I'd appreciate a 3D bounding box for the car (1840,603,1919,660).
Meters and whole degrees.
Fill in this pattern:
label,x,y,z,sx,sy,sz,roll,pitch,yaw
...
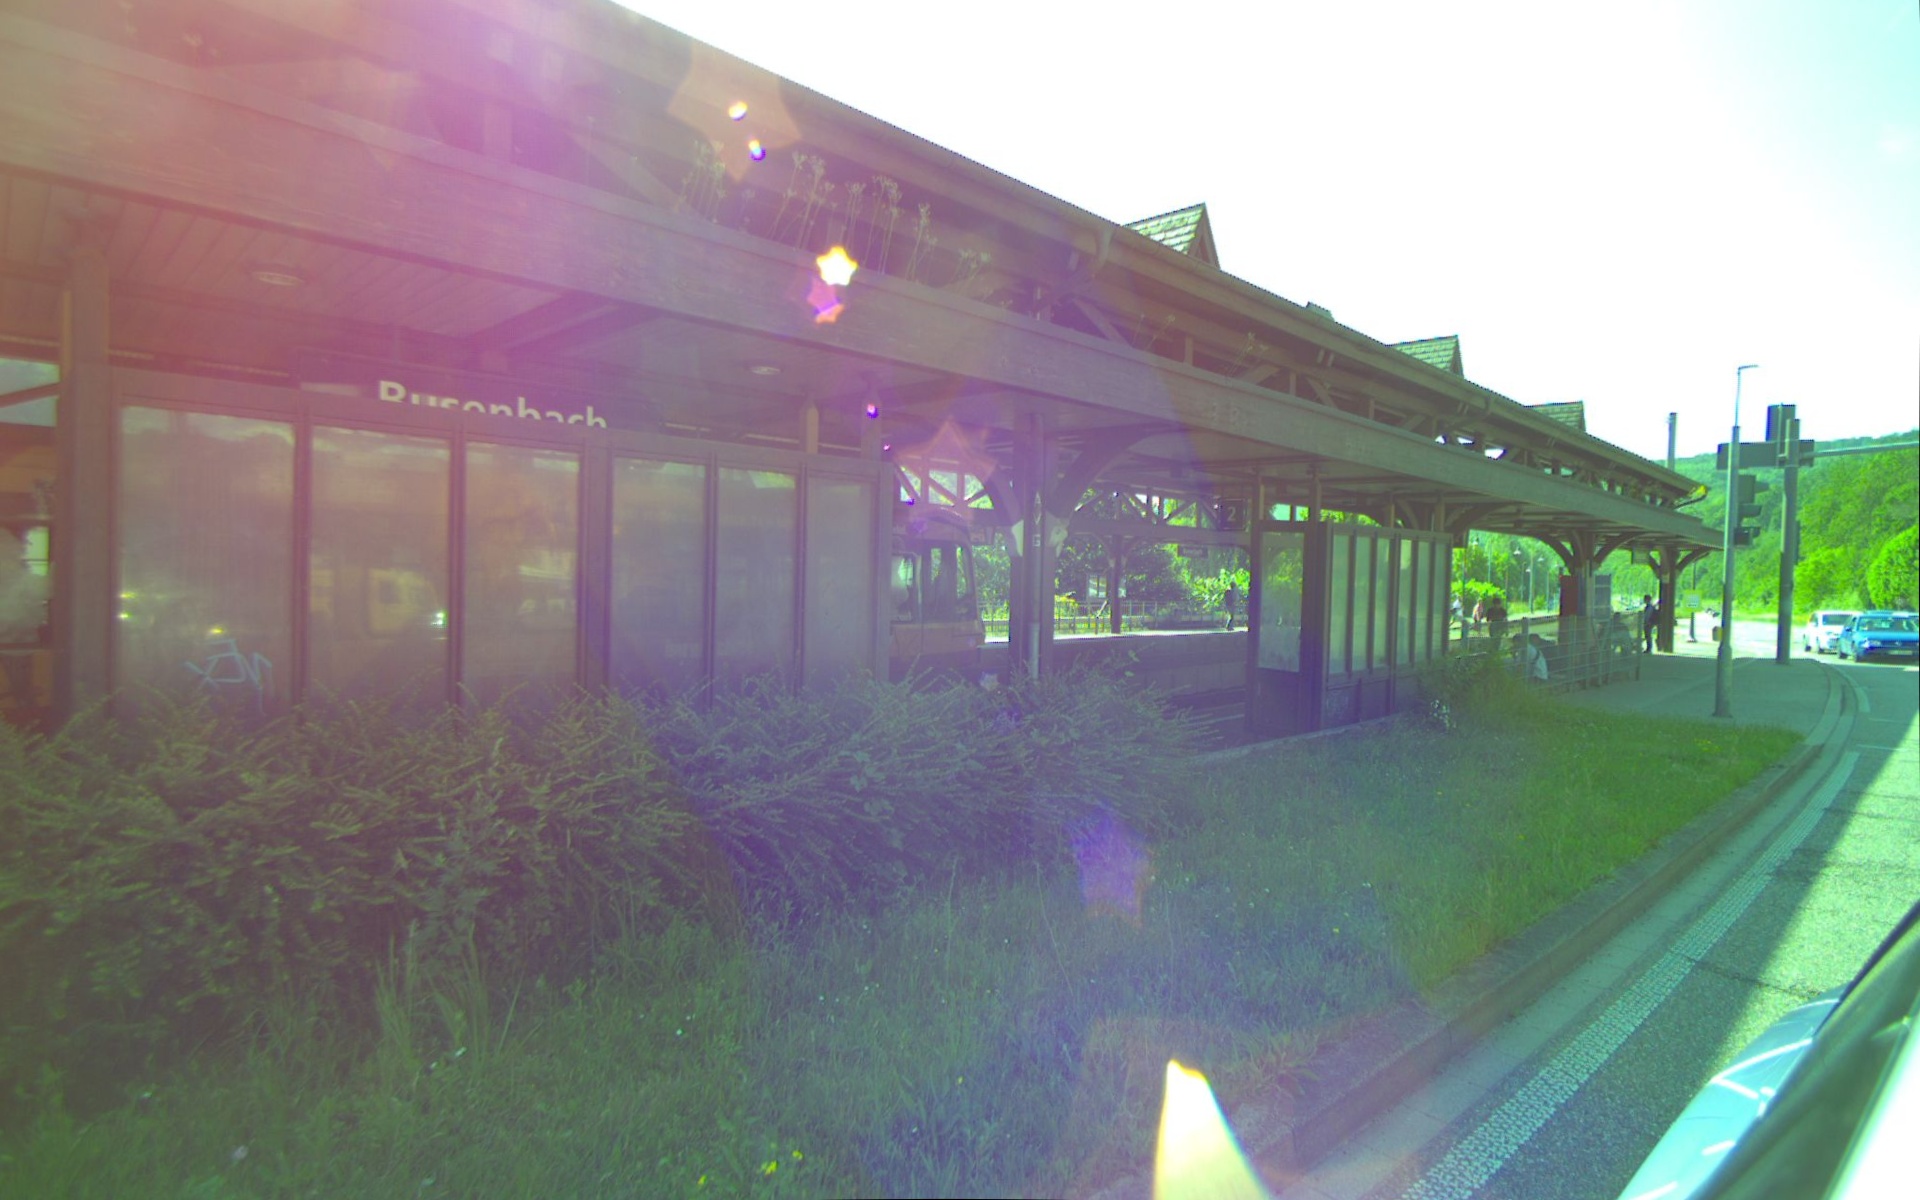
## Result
label,x,y,z,sx,sy,sz,roll,pitch,yaw
car,27.371,0.888,29.581,1.853,1.501,4.251,2,1,33

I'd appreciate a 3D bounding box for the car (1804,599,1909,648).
label,x,y,z,sx,sy,sz,roll,pitch,yaw
car,31.171,0.805,35.311,1.984,1.605,3.955,-1,-1,31

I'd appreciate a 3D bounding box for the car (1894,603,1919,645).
label,x,y,z,sx,sy,sz,roll,pitch,yaw
car,36.270,0.903,37.172,1.965,1.523,4.697,0,-1,31

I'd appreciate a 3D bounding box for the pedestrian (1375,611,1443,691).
label,x,y,z,sx,sy,sz,roll,pitch,yaw
pedestrian,6.569,0.738,14.811,0.741,1.131,0.657,-1,-2,42

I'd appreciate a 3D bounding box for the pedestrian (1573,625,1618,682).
label,x,y,z,sx,sy,sz,roll,pitch,yaw
pedestrian,11.236,0.934,17.899,0.616,0.978,0.400,-1,-2,42

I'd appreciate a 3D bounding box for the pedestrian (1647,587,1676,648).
label,x,y,z,sx,sy,sz,roll,pitch,yaw
pedestrian,20.143,0.503,29.073,0.655,1.713,0.730,1,0,35

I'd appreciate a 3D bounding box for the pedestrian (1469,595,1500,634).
label,x,y,z,sx,sy,sz,roll,pitch,yaw
pedestrian,23.318,0.652,45.026,0.805,1.706,0.905,1,-2,-18

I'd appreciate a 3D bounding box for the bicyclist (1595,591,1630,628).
label,x,y,z,sx,sy,sz,roll,pitch,yaw
bicyclist,27.974,0.410,43.401,0.771,1.589,0.948,0,-1,-25

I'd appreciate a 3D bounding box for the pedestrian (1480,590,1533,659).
label,x,y,z,sx,sy,sz,roll,pitch,yaw
pedestrian,12.841,0.574,23.789,0.860,1.567,0.908,1,-1,43

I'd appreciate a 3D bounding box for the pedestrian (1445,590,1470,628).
label,x,y,z,sx,sy,sz,roll,pitch,yaw
pedestrian,22.682,0.411,46.134,0.864,1.706,0.810,-1,-2,42

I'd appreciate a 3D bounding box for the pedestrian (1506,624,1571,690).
label,x,y,z,sx,sy,sz,roll,pitch,yaw
pedestrian,9.101,0.875,15.912,0.741,0.995,0.757,-1,-2,42

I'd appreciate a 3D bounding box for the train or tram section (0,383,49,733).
label,x,y,z,sx,sy,sz,roll,pitch,yaw
train or tram section,-14.334,-0.361,7.067,11.844,3.407,2.789,0,0,-43

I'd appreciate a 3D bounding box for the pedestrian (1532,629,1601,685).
label,x,y,z,sx,sy,sz,roll,pitch,yaw
pedestrian,10.143,0.934,16.923,0.844,0.885,0.795,-1,-2,42

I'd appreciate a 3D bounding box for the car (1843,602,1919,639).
label,x,y,z,sx,sy,sz,roll,pitch,yaw
car,40.333,0.884,44.207,1.965,1.523,3.941,0,-1,31

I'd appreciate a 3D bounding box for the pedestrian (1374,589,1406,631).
label,x,y,z,sx,sy,sz,roll,pitch,yaw
pedestrian,19.576,0.463,46.071,1.054,1.867,0.989,3,-2,-42

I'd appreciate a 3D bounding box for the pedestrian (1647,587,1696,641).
label,x,y,z,sx,sy,sz,roll,pitch,yaw
pedestrian,23.717,0.472,33.743,0.903,1.759,1.246,0,-2,14

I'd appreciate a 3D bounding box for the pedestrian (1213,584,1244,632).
label,x,y,z,sx,sy,sz,roll,pitch,yaw
pedestrian,9.656,0.310,36.403,0.888,1.706,0.735,2,-2,-41

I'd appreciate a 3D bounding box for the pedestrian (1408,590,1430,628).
label,x,y,z,sx,sy,sz,roll,pitch,yaw
pedestrian,20.850,0.411,45.985,0.895,1.706,0.815,0,-2,26

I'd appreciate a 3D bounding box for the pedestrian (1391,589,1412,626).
label,x,y,z,sx,sy,sz,roll,pitch,yaw
pedestrian,20.615,0.376,47.234,0.669,1.706,0.560,1,-2,-20

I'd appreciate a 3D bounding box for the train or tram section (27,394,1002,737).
label,x,y,z,sx,sy,sz,roll,pitch,yaw
train or tram section,-5.169,-0.357,16.069,14.119,3.407,2.857,0,0,-45

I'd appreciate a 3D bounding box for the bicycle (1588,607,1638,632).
label,x,y,z,sx,sy,sz,roll,pitch,yaw
bicycle,27.937,0.821,43.334,0.591,1.069,1.817,0,-1,-20

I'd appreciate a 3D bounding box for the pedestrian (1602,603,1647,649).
label,x,y,z,sx,sy,sz,roll,pitch,yaw
pedestrian,18.038,0.690,27.460,1.003,1.174,0.937,1,0,35

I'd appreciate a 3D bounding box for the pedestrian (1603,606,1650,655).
label,x,y,z,sx,sy,sz,roll,pitch,yaw
pedestrian,17.395,0.786,26.416,0.988,1.251,0.589,-1,-2,36
